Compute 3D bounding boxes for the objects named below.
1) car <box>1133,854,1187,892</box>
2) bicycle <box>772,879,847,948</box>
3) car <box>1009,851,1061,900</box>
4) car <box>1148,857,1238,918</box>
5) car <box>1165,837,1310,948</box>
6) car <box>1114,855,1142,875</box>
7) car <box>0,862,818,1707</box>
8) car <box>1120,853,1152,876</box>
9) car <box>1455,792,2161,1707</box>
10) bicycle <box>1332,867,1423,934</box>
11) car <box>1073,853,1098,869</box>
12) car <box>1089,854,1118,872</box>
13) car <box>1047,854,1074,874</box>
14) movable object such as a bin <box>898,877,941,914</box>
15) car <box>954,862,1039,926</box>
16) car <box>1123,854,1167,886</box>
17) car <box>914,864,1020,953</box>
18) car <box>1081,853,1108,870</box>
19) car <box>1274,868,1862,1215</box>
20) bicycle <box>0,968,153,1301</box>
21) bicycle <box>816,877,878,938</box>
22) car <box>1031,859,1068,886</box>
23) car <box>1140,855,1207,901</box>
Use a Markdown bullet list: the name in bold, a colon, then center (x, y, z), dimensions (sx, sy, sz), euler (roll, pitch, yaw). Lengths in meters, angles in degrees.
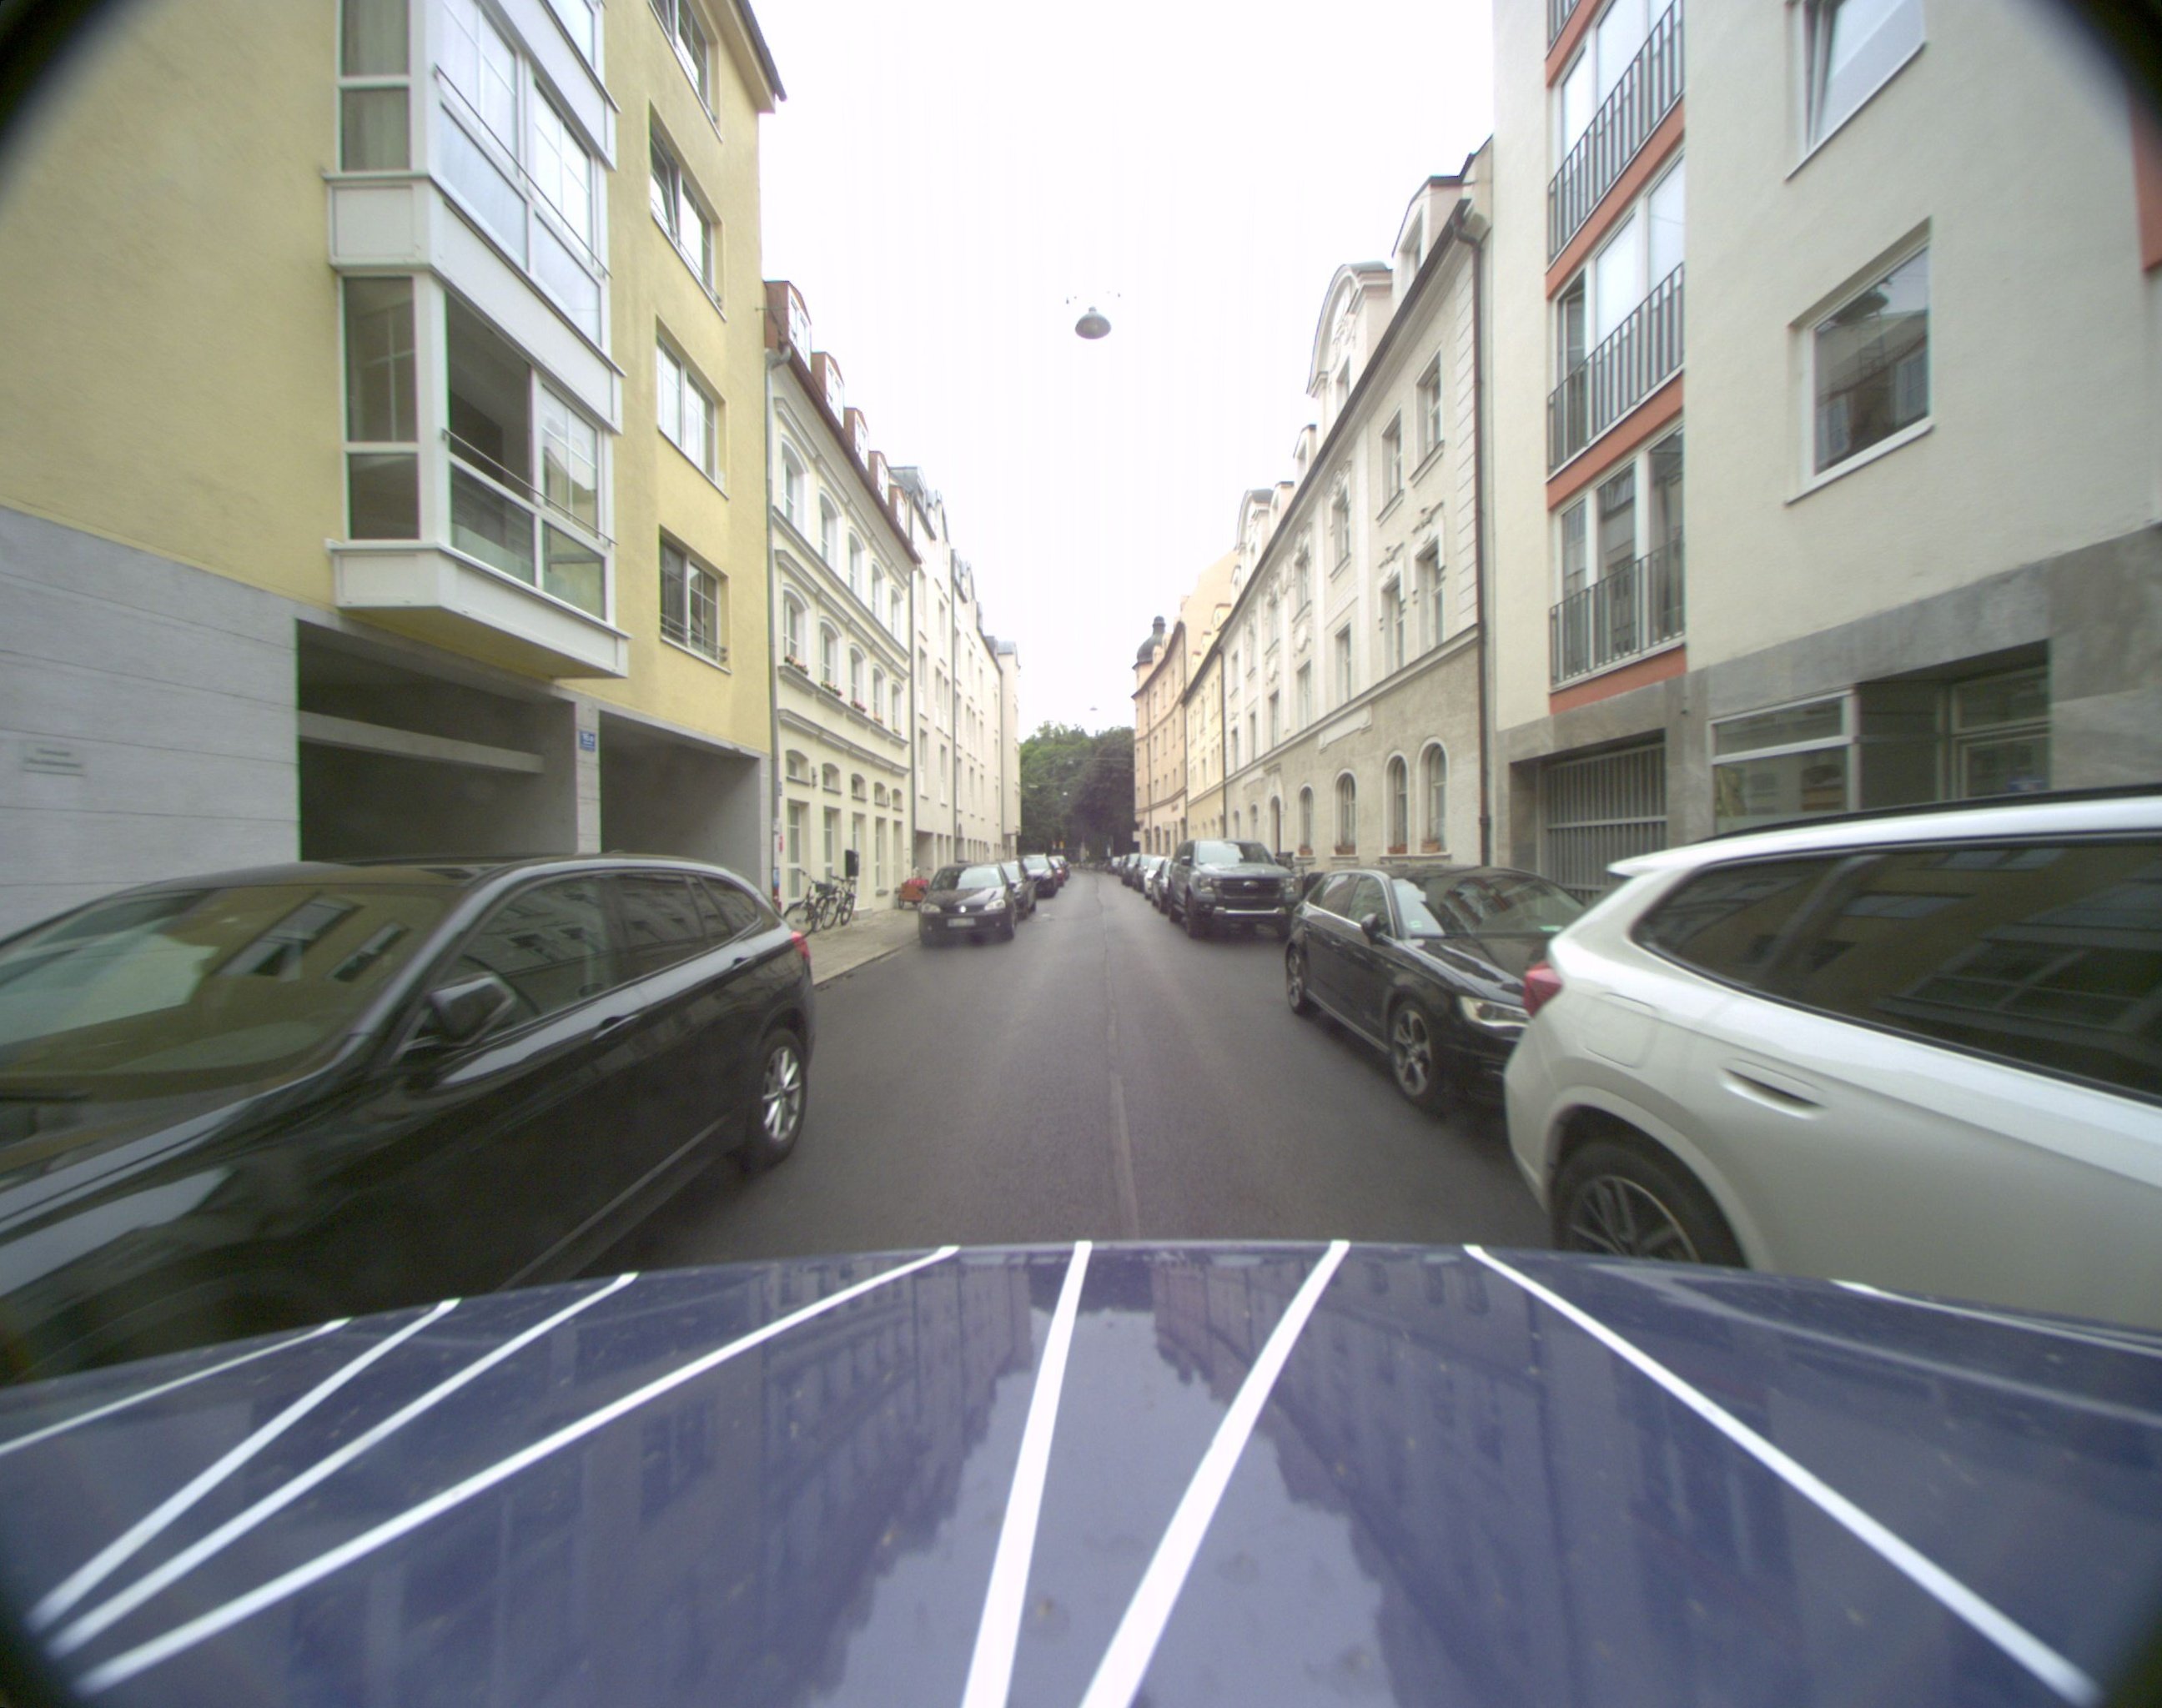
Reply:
- **car**: center (3.312, 0.784, 32.413), dimensions (1.951, 1.470, 3.716), euler (1, 0, 1)
- **bicycle**: center (-4.954, 1.047, 13.993), dimensions (0.636, 1.155, 1.869), euler (1, -1, 2)
- **car**: center (-1.772, 0.800, 30.218), dimensions (1.739, 1.743, 3.686), euler (-2, 0, 0)
- **car**: center (2.970, 0.841, 20.926), dimensions (1.951, 1.470, 3.716), euler (1, 0, 1)
- **car**: center (2.914, 0.644, 15.322), dimensions (1.951, 1.850, 4.908), euler (1, 0, 1)
- **car**: center (3.660, 0.848, 59.324), dimensions (1.951, 1.470, 3.979), euler (1, 0, 1)
- **car**: center (-2.496, 0.930, 2.327), dimensions (1.837, 1.676, 4.228), euler (-2, 0, 0)
- **car**: center (3.730, 0.684, 52.220), dimensions (1.951, 1.470, 3.979), euler (1, 0, 1)
- **car**: center (2.315, 0.733, 0.565), dimensions (1.786, 1.596, 4.307), euler (1, 0, -2)
- **bicycle**: center (5.862, 0.872, 15.230), dimensions (0.754, 1.098, 2.826), euler (-7, 0, 3)
- **car**: center (0.432, 0.707, 77.239), dimensions (1.800, 1.501, 3.996), euler (1, 0, -10)
- **car**: center (1.992, 0.770, 68.933), dimensions (1.800, 1.501, 3.996), euler (1, 0, -10)
- **car**: center (-1.386, 0.703, 53.616), dimensions (1.739, 1.297, 3.686), euler (-2, 0, 0)
- **movable object such as a bin**: center (-4.619, 1.175, 21.846), dimensions (0.740, 0.926, 1.650), euler (-7, -2, 1)
- **car**: center (-2.115, 0.979, 19.991), dimensions (1.739, 1.433, 3.686), euler (-2, 0, 0)
- **car**: center (3.154, 0.771, 38.120), dimensions (1.951, 1.470, 3.979), euler (1, 0, 1)
- **car**: center (-2.178, 0.985, 15.507), dimensions (1.750, 1.433, 4.227), euler (-2, 0, -4)
- **car**: center (1.247, 0.718, 73.133), dimensions (1.800, 1.501, 3.996), euler (1, 0, -10)
- **car**: center (2.700, 0.882, 5.440), dimensions (1.632, 1.466, 4.029), euler (1, 0, 1)
- **bicycle**: center (-5.204, 1.311, 3.129), dimensions (0.433, 1.462, 1.869), euler (-2, -2, 1)
- **bicycle**: center (-4.875, 1.090, 15.952), dimensions (0.636, 1.155, 1.868), euler (3, -1, 2)
- **car**: center (-1.627, 0.969, 40.594), dimensions (1.739, 1.297, 3.686), euler (-2, 0, 0)
- **car**: center (3.220, 0.795, 27.100), dimensions (1.951, 1.470, 3.716), euler (1, 0, 1)
